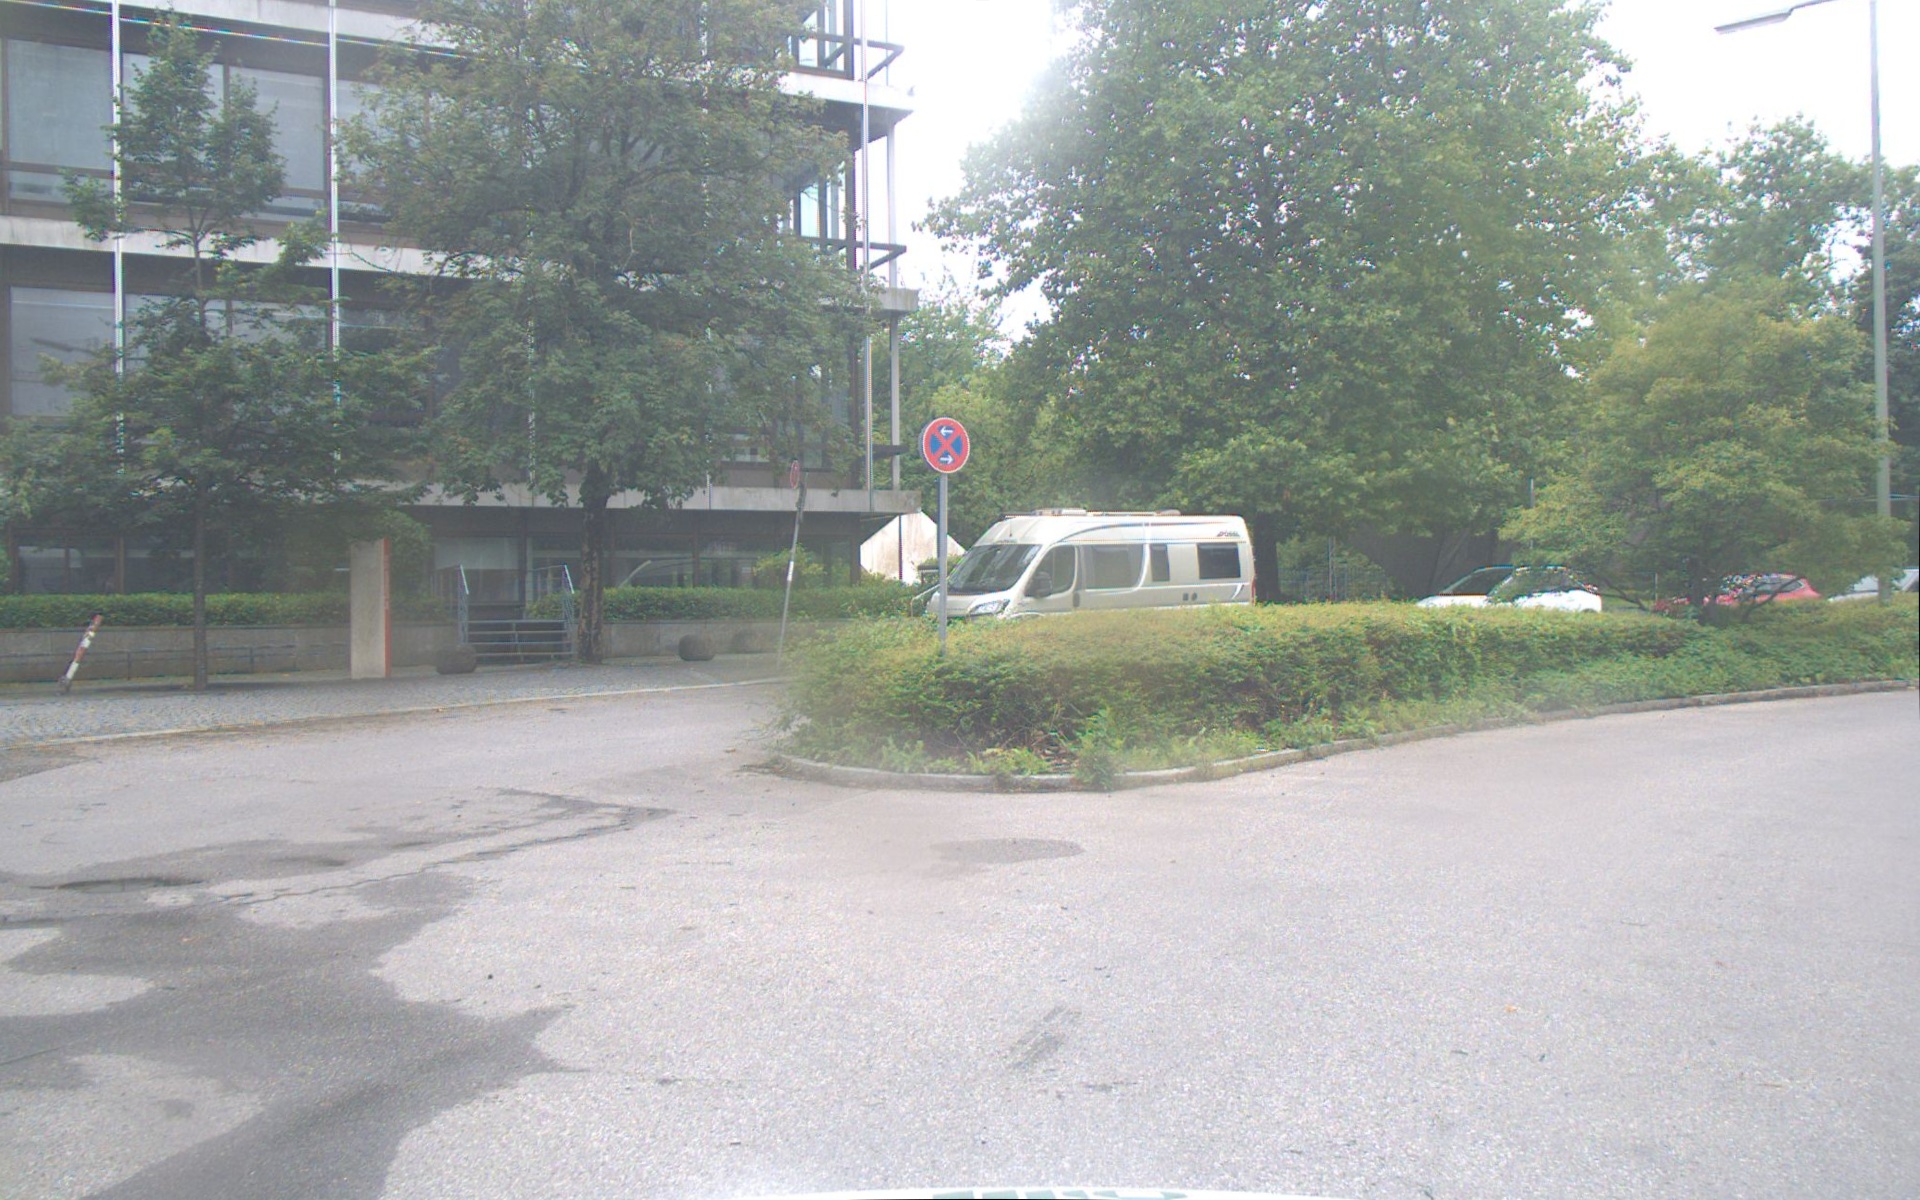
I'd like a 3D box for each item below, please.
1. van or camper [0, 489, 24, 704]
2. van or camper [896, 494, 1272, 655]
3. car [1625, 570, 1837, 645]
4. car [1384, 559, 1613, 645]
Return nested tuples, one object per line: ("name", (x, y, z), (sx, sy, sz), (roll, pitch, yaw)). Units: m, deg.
("van or camper", (-14.703, 0.069, 21.545), (6.413, 2.626, 2.153), (-3, -2, 39))
("van or camper", (2.139, -0.395, 26.721), (6.359, 2.321, 2.222), (-1, 0, -40))
("car", (16.131, 0.133, 34.617), (3.936, 1.434, 1.984), (-1, 0, -25))
("car", (10.425, 0.022, 32.010), (3.936, 1.534, 1.984), (-1, 0, -25))
